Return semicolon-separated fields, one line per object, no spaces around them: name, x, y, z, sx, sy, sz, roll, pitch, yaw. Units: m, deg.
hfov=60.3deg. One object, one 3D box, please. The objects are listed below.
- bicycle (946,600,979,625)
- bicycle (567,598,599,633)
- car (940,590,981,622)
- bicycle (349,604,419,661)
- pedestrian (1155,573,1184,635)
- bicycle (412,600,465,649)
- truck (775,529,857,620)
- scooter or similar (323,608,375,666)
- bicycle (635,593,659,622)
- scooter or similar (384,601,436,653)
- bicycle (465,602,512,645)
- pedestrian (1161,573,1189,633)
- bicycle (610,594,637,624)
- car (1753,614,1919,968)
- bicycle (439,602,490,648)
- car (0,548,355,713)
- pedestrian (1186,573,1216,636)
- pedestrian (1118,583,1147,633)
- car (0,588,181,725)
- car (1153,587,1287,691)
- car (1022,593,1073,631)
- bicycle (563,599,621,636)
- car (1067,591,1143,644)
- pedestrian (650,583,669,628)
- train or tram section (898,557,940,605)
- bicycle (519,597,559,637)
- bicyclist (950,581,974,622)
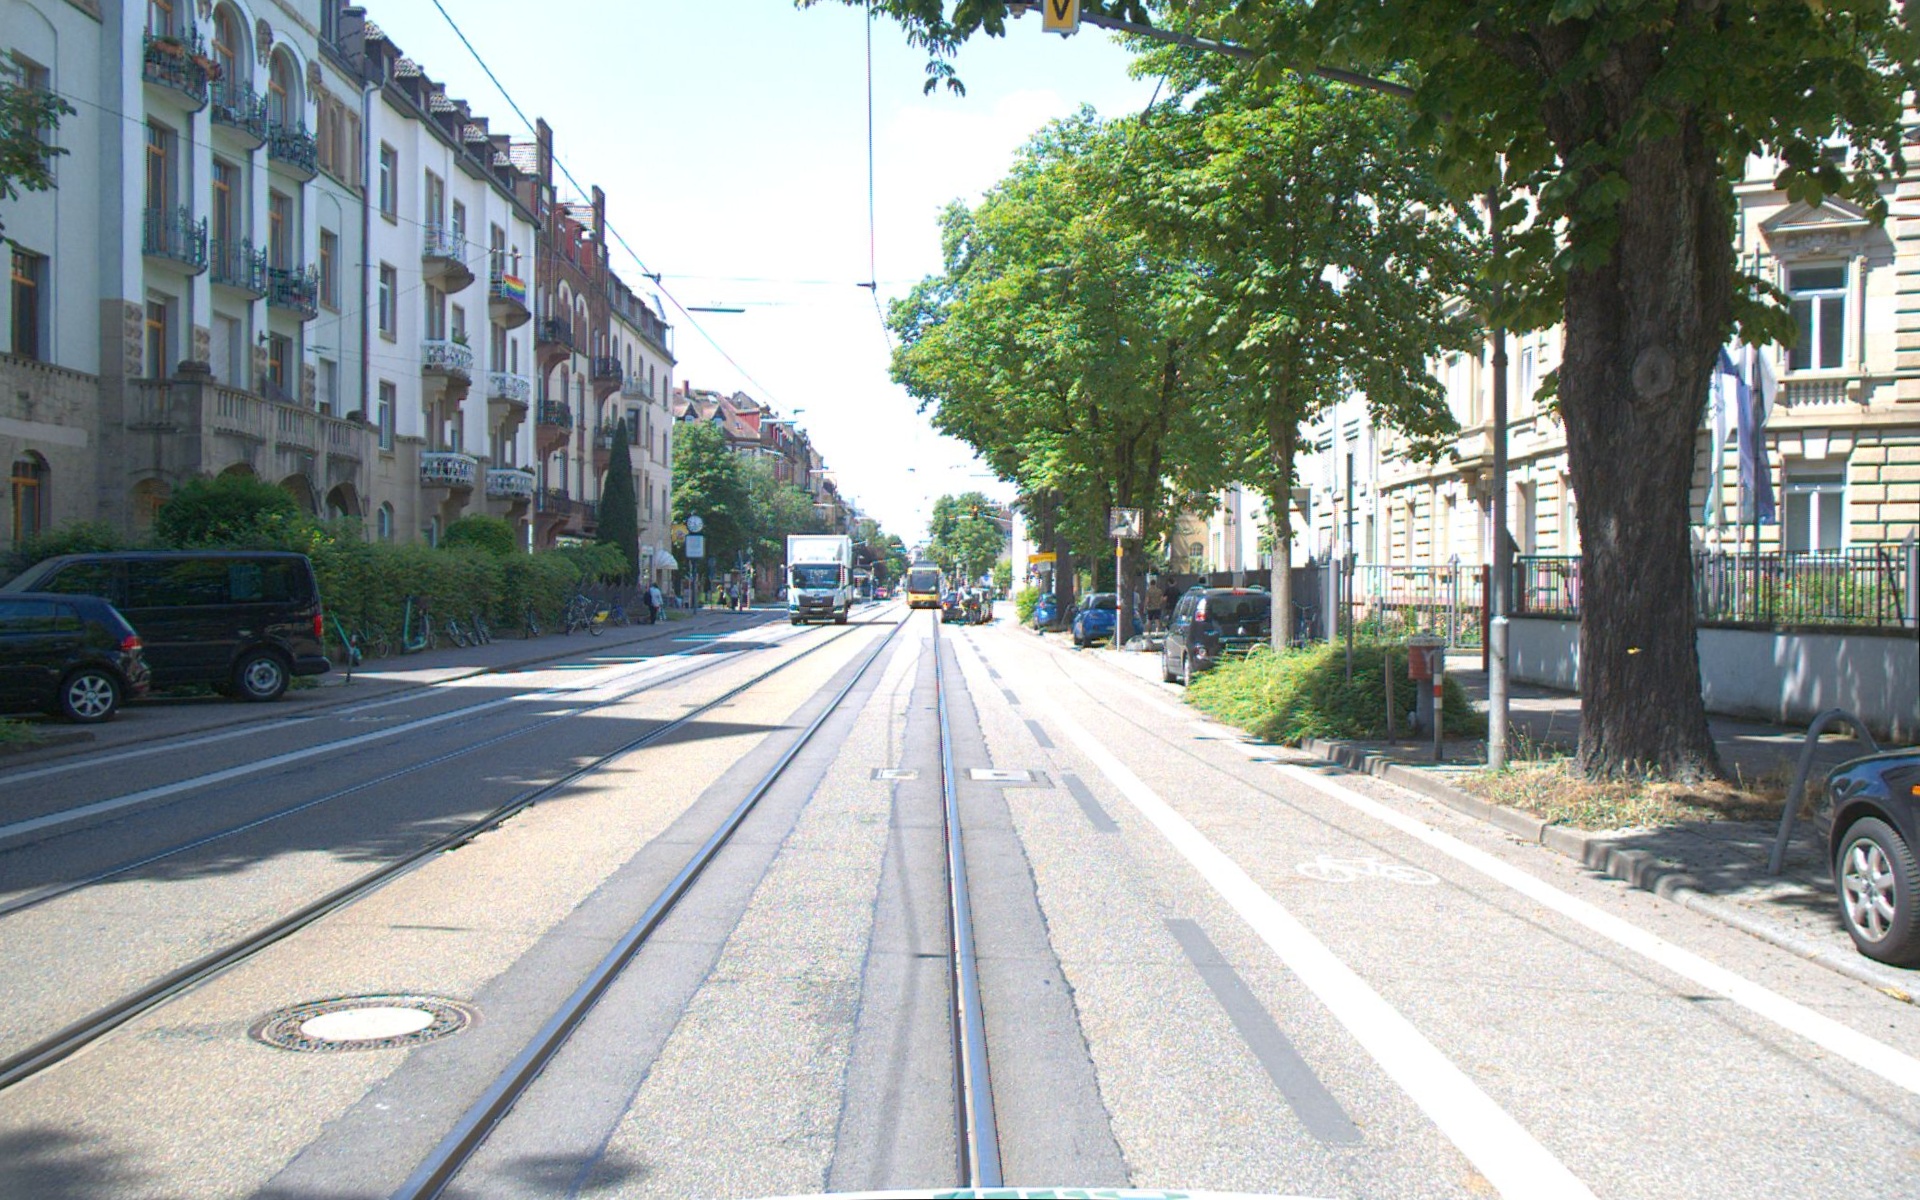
bicycle;0.097;0.501;67.842;0.630;0.986;1.767;2;-1;-24
bicycle;-11.262;0.465;49.460;0.532;0.986;1.781;2;1;-1
car;-0.005;0.259;73.266;1.745;1.369;3.415;0;0;-1
bicycle;-10.916;0.599;31.427;0.532;0.986;2.248;2;1;-1
pedestrian;6.471;0.139;51.027;0.792;1.892;0.576;1;-1;-3
bicycle;-10.997;0.522;34.944;0.532;0.986;1.822;2;-1;-1
truck;-5.986;-1.077;70.052;2.880;3.612;8.451;0;1;-1
scooter or similar;-10.857;0.652;29.410;0.532;0.986;0.958;2;1;-1
bicycle;-11.452;0.280;60.610;0.532;0.986;1.781;2;2;-1
scooter or similar;-11.058;0.536;33.272;0.532;0.986;1.499;2;1;-1
bicycle;-11.077;0.557;38.909;0.532;0.986;1.989;2;-1;-1
pedestrian;6.824;0.099;52.522;0.792;1.892;0.623;1;-1;-3
bicycle;-11.435;0.311;56.212;0.532;0.986;1.780;2;0;-1
car;4.827;0.794;6.097;1.676;1.448;4.242;0;0;-2
bicycle;-11.043;0.544;36.897;0.532;0.986;1.989;2;0;-1
car;-10.468;0.376;21.751;4.444;1.974;1.680;0;-1;-40
pedestrian;7.390;0.142;50.718;0.792;1.892;0.623;1;-1;-3
pedestrian;5.398;0.267;51.842;0.791;1.557;0.624;0;-1;16
car;-10.959;0.618;18.522;3.778;1.482;1.609;0;-1;-42
car;4.357;0.611;28.213;1.560;1.645;3.906;0;0;-2
car;3.441;0.465;65.687;1.676;1.448;4.308;0;0;-2
bicycle;-10.359;0.488;46.590;0.532;0.986;1.778;1;-1;28
car;4.117;0.474;47.410;1.676;1.448;4.308;0;0;-2
pedestrian;-10.874;0.196;59.871;0.561;1.644;0.816;0;0;-1
train or tram section;-3.074;-1.420;125.988;2.973;3.498;11.969;0;1;-1
bicycle;-11.180;0.434;43.957;0.532;0.986;1.990;2;1;-1
bicyclist;0.084;0.067;67.884;0.614;1.644;0.858;2;-2;-24
